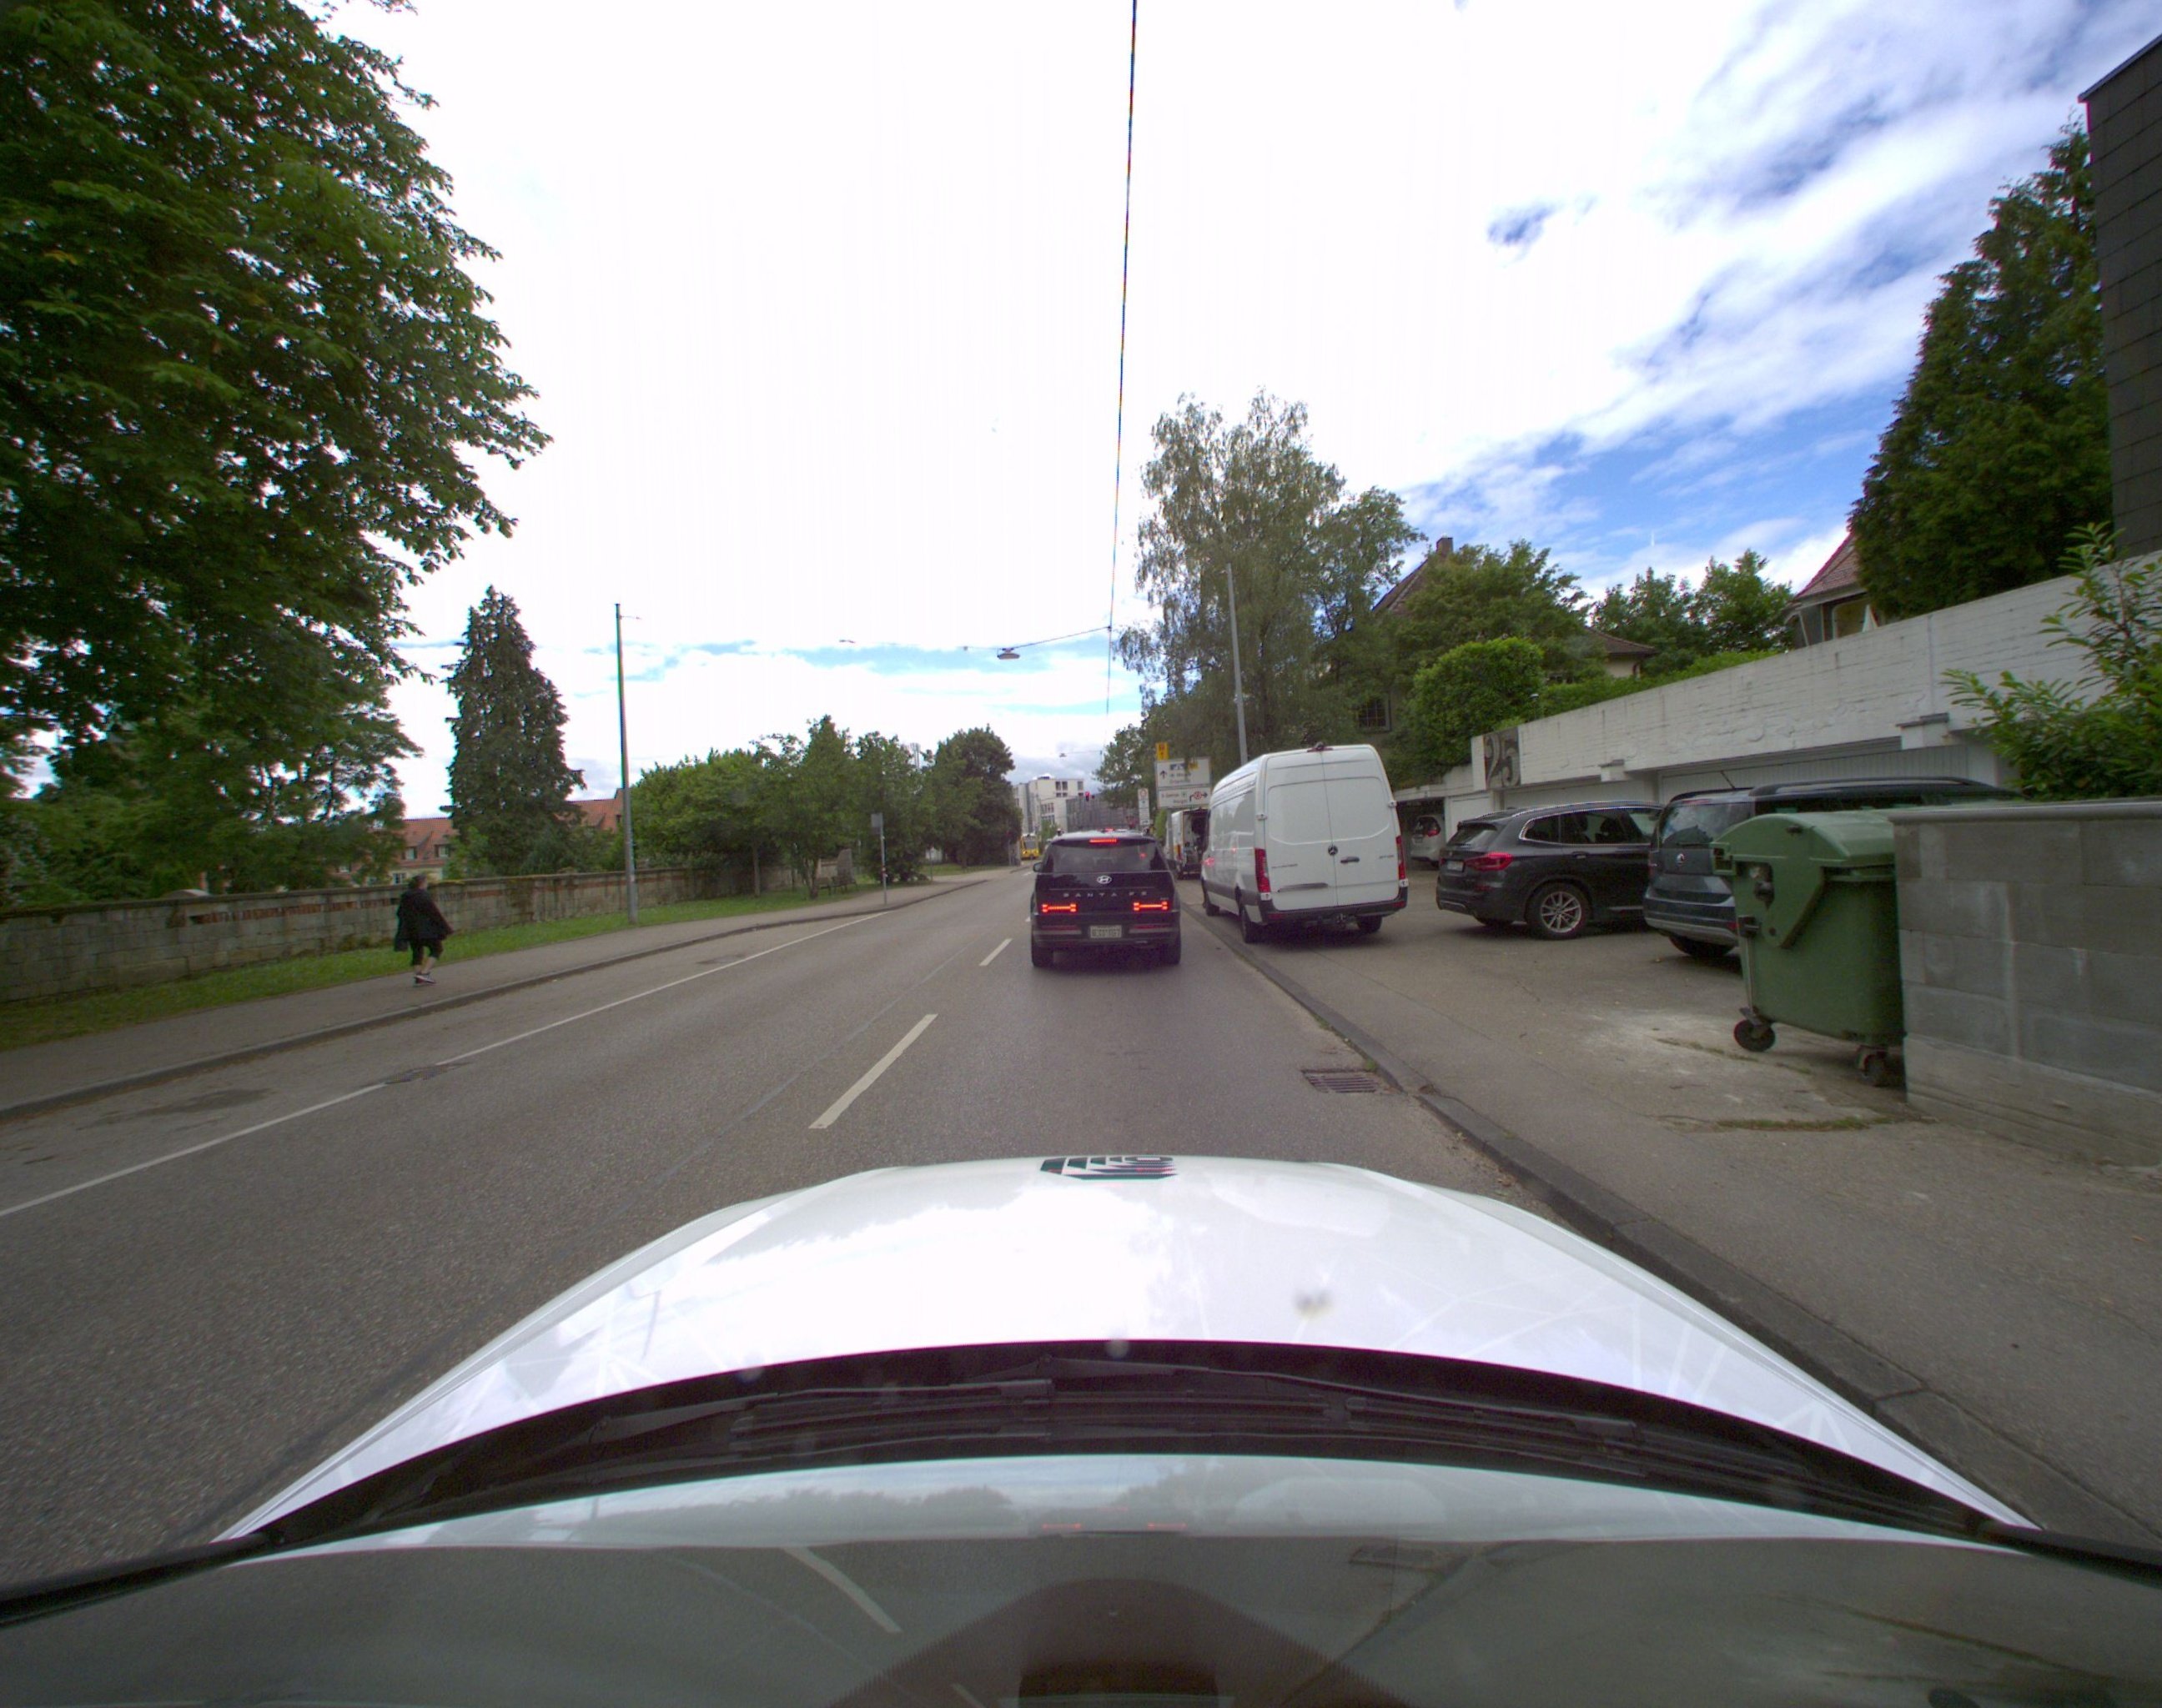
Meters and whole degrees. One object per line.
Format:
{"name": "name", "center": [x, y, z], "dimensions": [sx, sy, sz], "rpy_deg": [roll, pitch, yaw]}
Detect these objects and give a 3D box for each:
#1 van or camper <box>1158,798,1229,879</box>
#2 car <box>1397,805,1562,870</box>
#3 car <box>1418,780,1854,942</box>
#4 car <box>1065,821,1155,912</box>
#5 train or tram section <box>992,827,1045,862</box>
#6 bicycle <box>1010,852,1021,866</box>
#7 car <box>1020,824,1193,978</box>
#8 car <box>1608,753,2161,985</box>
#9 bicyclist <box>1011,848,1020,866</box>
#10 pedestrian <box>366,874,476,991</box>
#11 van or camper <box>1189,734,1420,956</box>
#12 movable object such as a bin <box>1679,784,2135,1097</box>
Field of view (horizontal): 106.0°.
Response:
{"name": "van or camper", "center": [4.353, -0.591, 32.322], "dimensions": [1.957, 2.796, 5.288], "rpy_deg": [-5, 0, 1]}
{"name": "car", "center": [11.890, -0.483, 24.467], "dimensions": [3.975, 1.711, 1.969], "rpy_deg": [-2, 0, -1]}
{"name": "car", "center": [7.016, 0.080, 10.691], "dimensions": [4.376, 1.652, 1.831], "rpy_deg": [-4, 0, 2]}
{"name": "car", "center": [0.689, 0.260, 20.457], "dimensions": [1.957, 2.001, 4.001], "rpy_deg": [-2, 0, 1]}
{"name": "train or tram section", "center": [-9.661, -1.237, 122.461], "dimensions": [3.203, 4.523, 18.560], "rpy_deg": [-1, -1, -19]}
{"name": "bicycle", "center": [-6.045, 0.477, 75.226], "dimensions": [0.676, 1.279, 2.490], "rpy_deg": [-2, -1, -12]}
{"name": "car", "center": [0.331, 0.528, 11.473], "dimensions": [1.957, 1.711, 4.001], "rpy_deg": [-2, 1, 1]}
{"name": "car", "center": [7.339, 0.101, 7.424], "dimensions": [3.780, 1.652, 1.832], "rpy_deg": [-4, 1, 5]}
{"name": "bicyclist", "center": [-6.046, 0.296, 75.260], "dimensions": [0.676, 1.659, 0.855], "rpy_deg": [-2, -1, -12]}
{"name": "pedestrian", "center": [-9.637, 1.118, 11.925], "dimensions": [0.746, 1.578, 0.967], "rpy_deg": [-2, 0, 1]}
{"name": "van or camper", "center": [3.253, -0.147, 13.507], "dimensions": [1.957, 2.627, 6.360], "rpy_deg": [-6, 0, 1]}
{"name": "movable object such as a bin", "center": [4.510, 0.424, 4.613], "dimensions": [1.295, 1.450, 1.181], "rpy_deg": [-4, 0, 1]}
